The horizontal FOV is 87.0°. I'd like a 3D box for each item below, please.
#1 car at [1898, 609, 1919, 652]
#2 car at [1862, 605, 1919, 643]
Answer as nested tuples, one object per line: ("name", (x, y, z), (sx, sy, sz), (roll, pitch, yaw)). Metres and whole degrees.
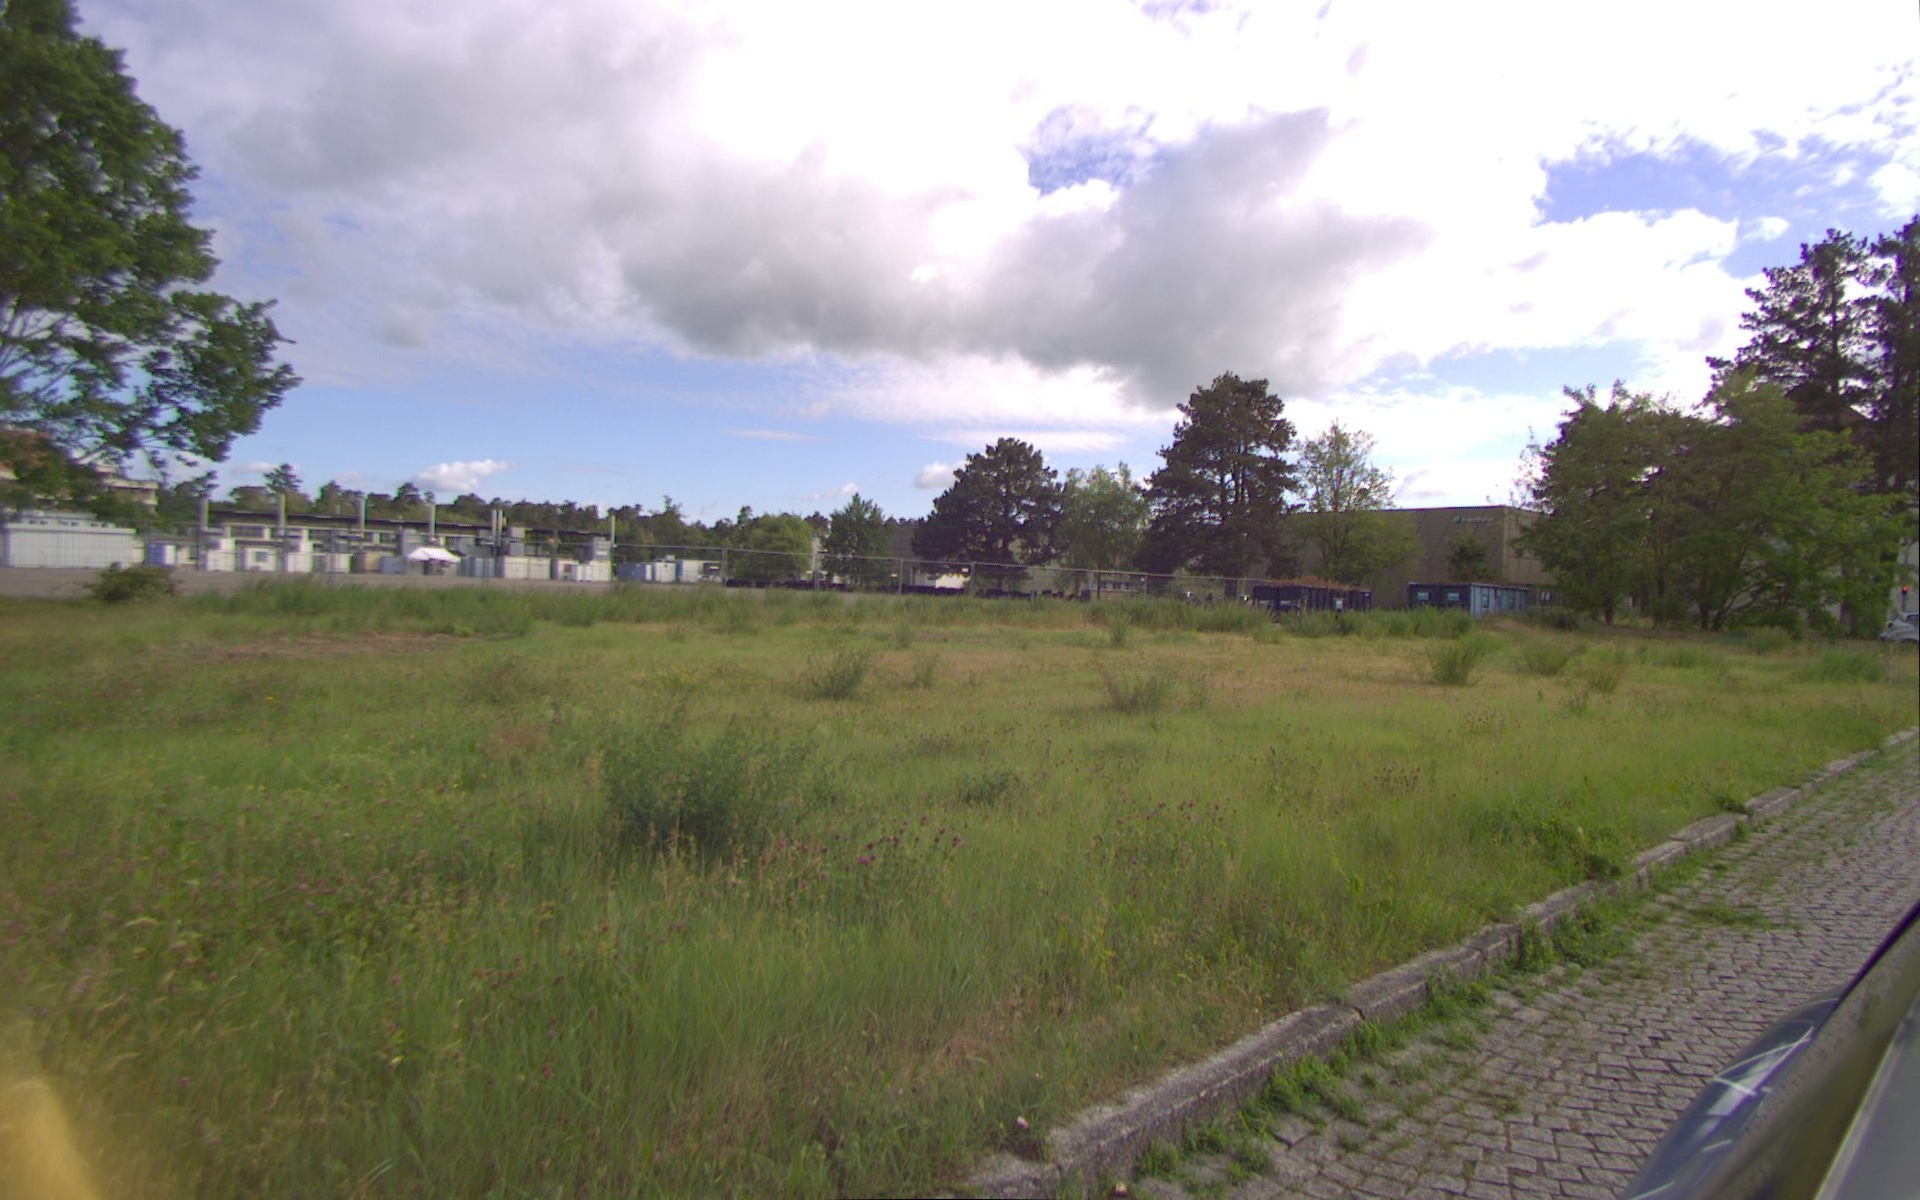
("car", (34.505, 1.052, 34.438), (1.599, 1.456, 3.722), (0, 0, -43))
("car", (37.407, 0.928, 39.164), (3.717, 1.456, 1.601), (0, -1, 43))
